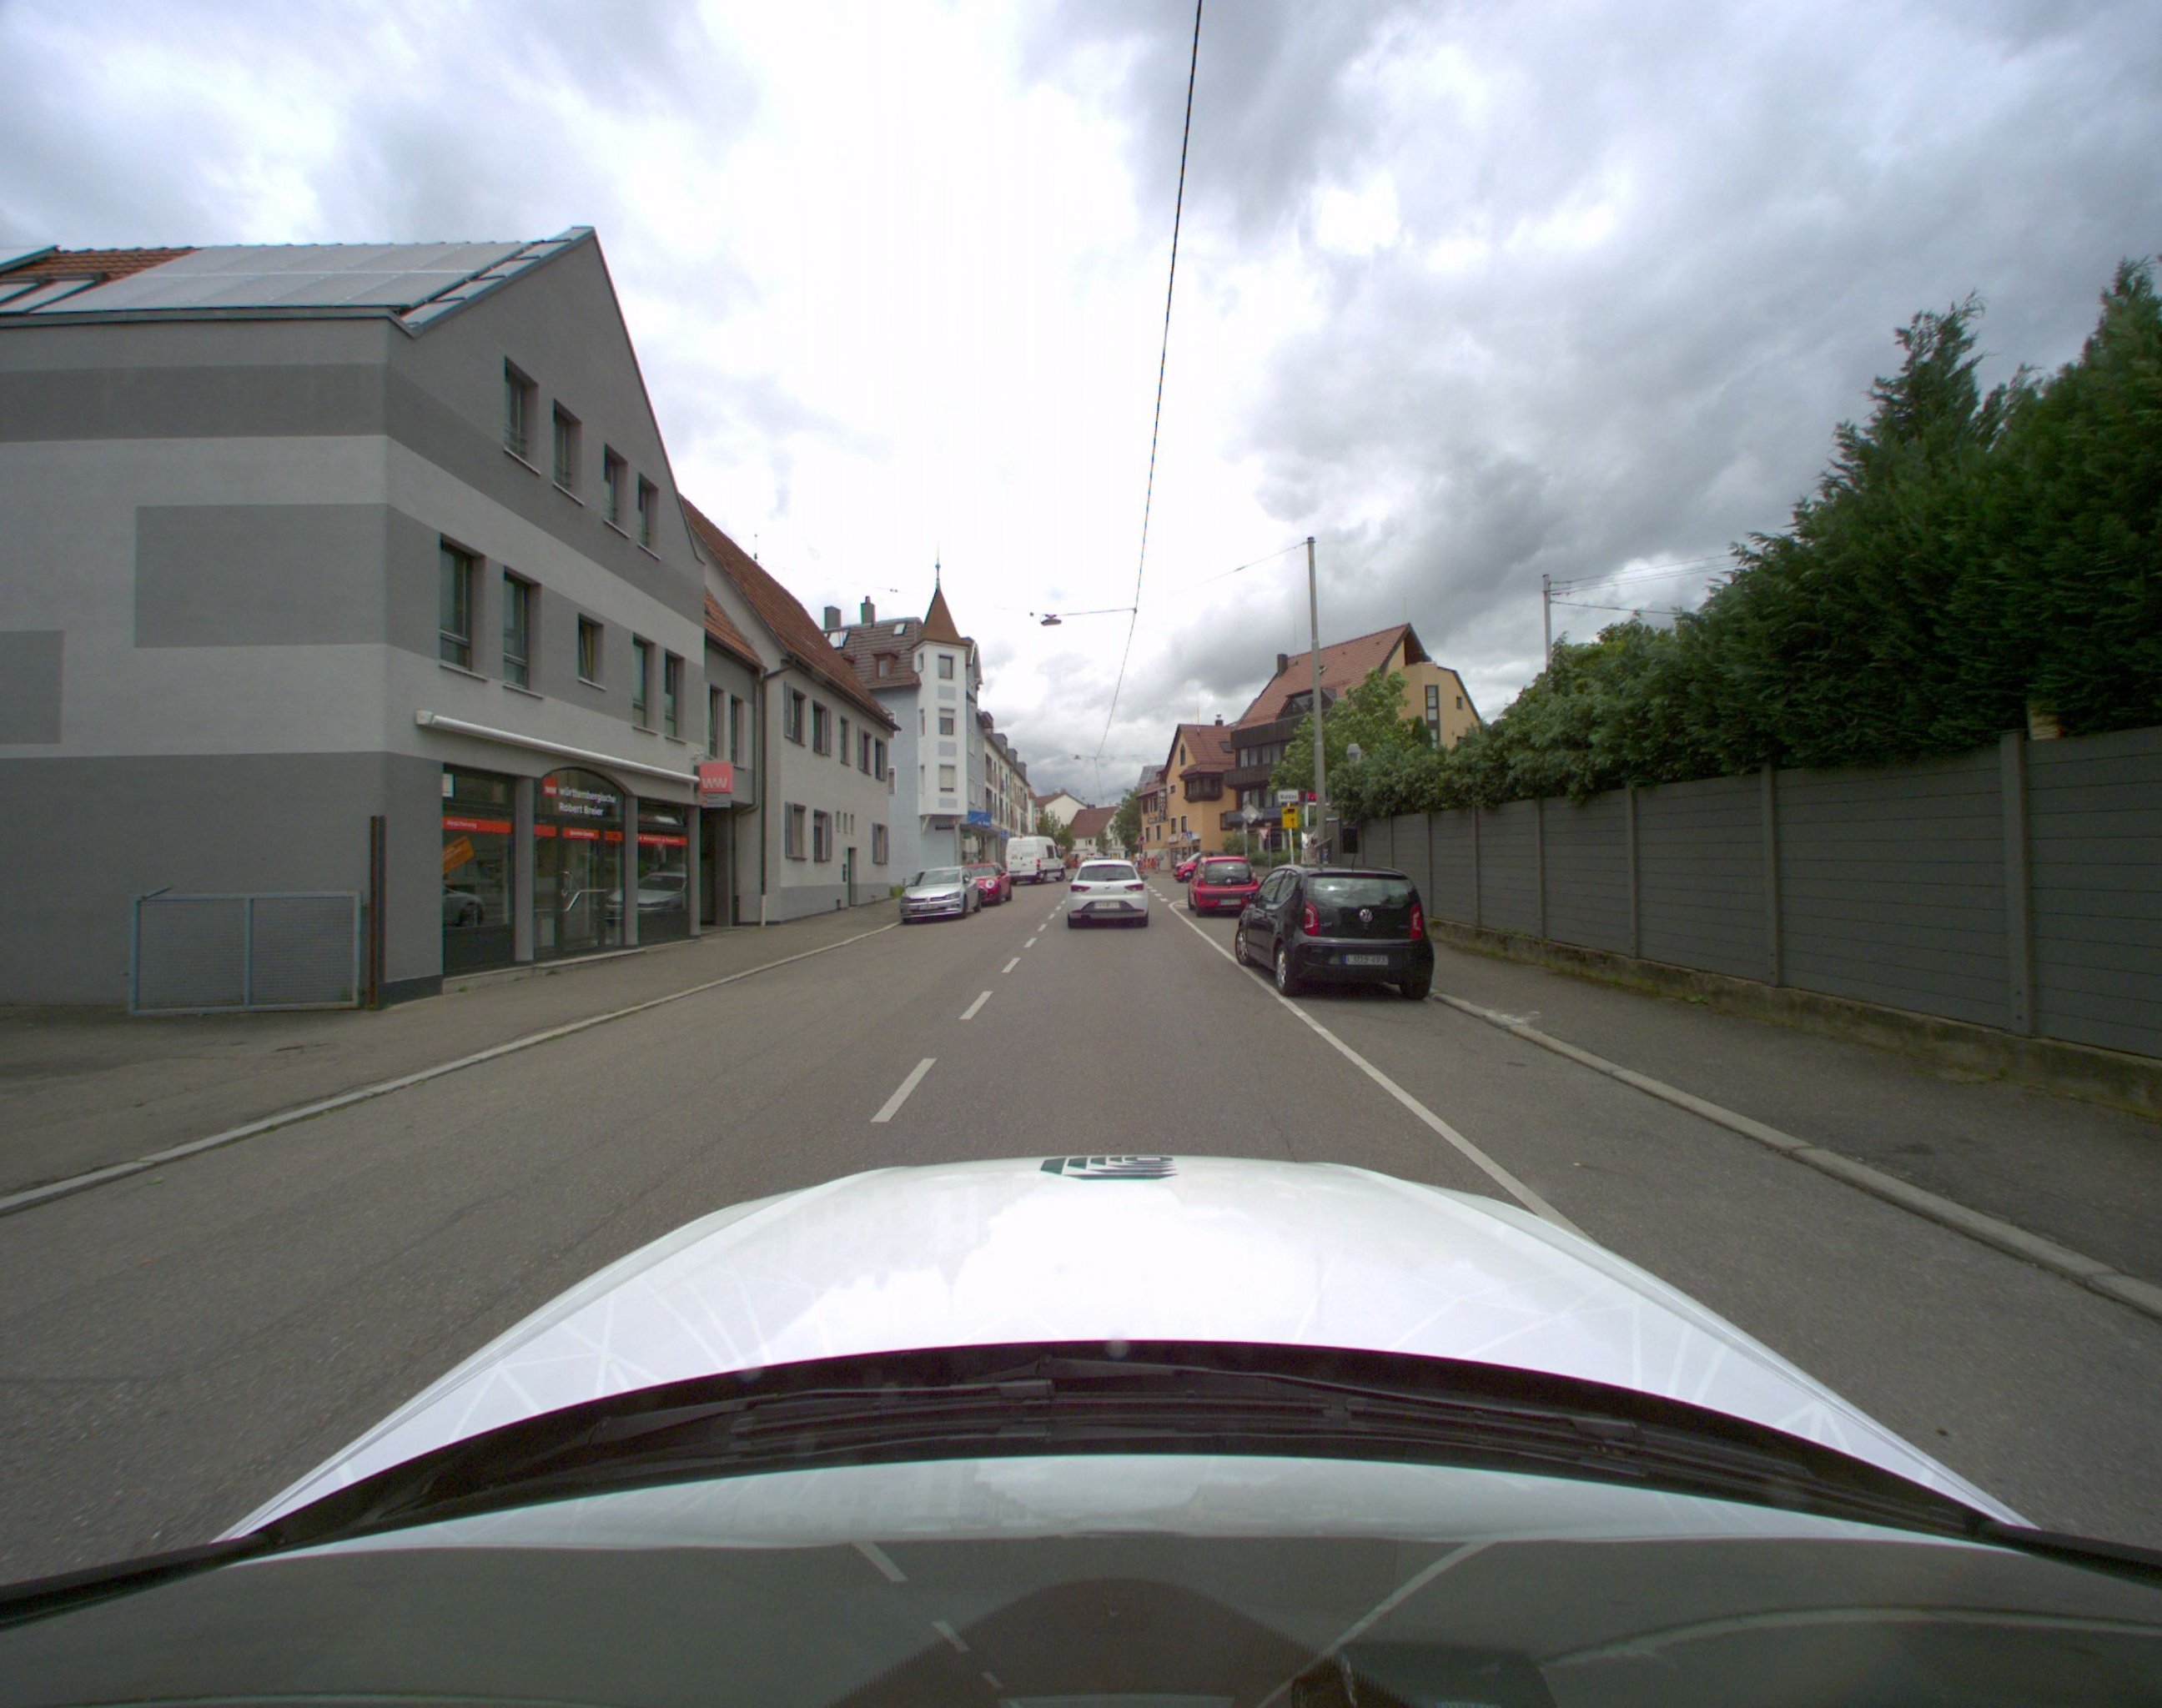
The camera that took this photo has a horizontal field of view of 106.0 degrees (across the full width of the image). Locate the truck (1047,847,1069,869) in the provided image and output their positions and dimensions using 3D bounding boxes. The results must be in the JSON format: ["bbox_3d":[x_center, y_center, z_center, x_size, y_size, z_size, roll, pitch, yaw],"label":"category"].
[{"bbox_3d":[-2.605,0.490,94.274,2.144,2.459,5.398,0,0,2],"label":"truck"}]

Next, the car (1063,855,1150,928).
[{"bbox_3d":[0.602,0.778,18.751,1.751,1.452,4.002,-1,0,2],"label":"car"}]

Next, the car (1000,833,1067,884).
[{"bbox_3d":[-2.585,0.231,46.016,2.137,2.687,5.566,0,0,14],"label":"car"}]

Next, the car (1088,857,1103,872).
[{"bbox_3d":[1.869,1.301,102.214,1.787,1.830,4.002,-1,0,2],"label":"car"}]

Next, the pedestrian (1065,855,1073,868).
[{"bbox_3d":[-1.481,0.962,102.991,0.969,1.575,0.908,0,-1,1],"label":"pedestrian"}]

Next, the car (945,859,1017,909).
[{"bbox_3d":[-3.414,0.983,28.525,1.792,1.479,4.052,-4,0,1],"label":"car"}]

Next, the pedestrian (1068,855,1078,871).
[{"bbox_3d":[-0.989,1.147,105.071,1.223,2.013,1.176,-1,0,2],"label":"pedestrian"}]

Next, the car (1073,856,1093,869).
[{"bbox_3d":[0.292,1.167,110.484,1.782,1.701,4.014,-1,0,12],"label":"car"}]

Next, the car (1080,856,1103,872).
[{"bbox_3d":[0.960,0.927,75.861,1.756,1.452,3.993,-1,0,-5],"label":"car"}]

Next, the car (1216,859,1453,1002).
[{"bbox_3d":[3.008,0.817,10.576,1.753,1.452,3.998,-1,0,-1],"label":"car"}]

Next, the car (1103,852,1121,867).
[{"bbox_3d":[3.080,0.543,81.568,1.755,1.497,3.791,-1,0,2],"label":"car"}]

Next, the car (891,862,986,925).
[{"bbox_3d":[-3.919,1.046,23.064,1.792,1.479,4.052,-4,0,1],"label":"car"}]

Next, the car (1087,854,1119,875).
[{"bbox_3d":[1.594,0.754,60.108,1.757,1.452,3.990,-1,0,-7],"label":"car"}]

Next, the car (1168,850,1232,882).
[{"bbox_3d":[5.984,0.585,41.020,2.808,1.512,1.703,0,1,-10],"label":"car"}]

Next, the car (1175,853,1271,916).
[{"bbox_3d":[3.624,0.740,21.424,1.753,1.452,3.998,-1,0,-1],"label":"car"}]
